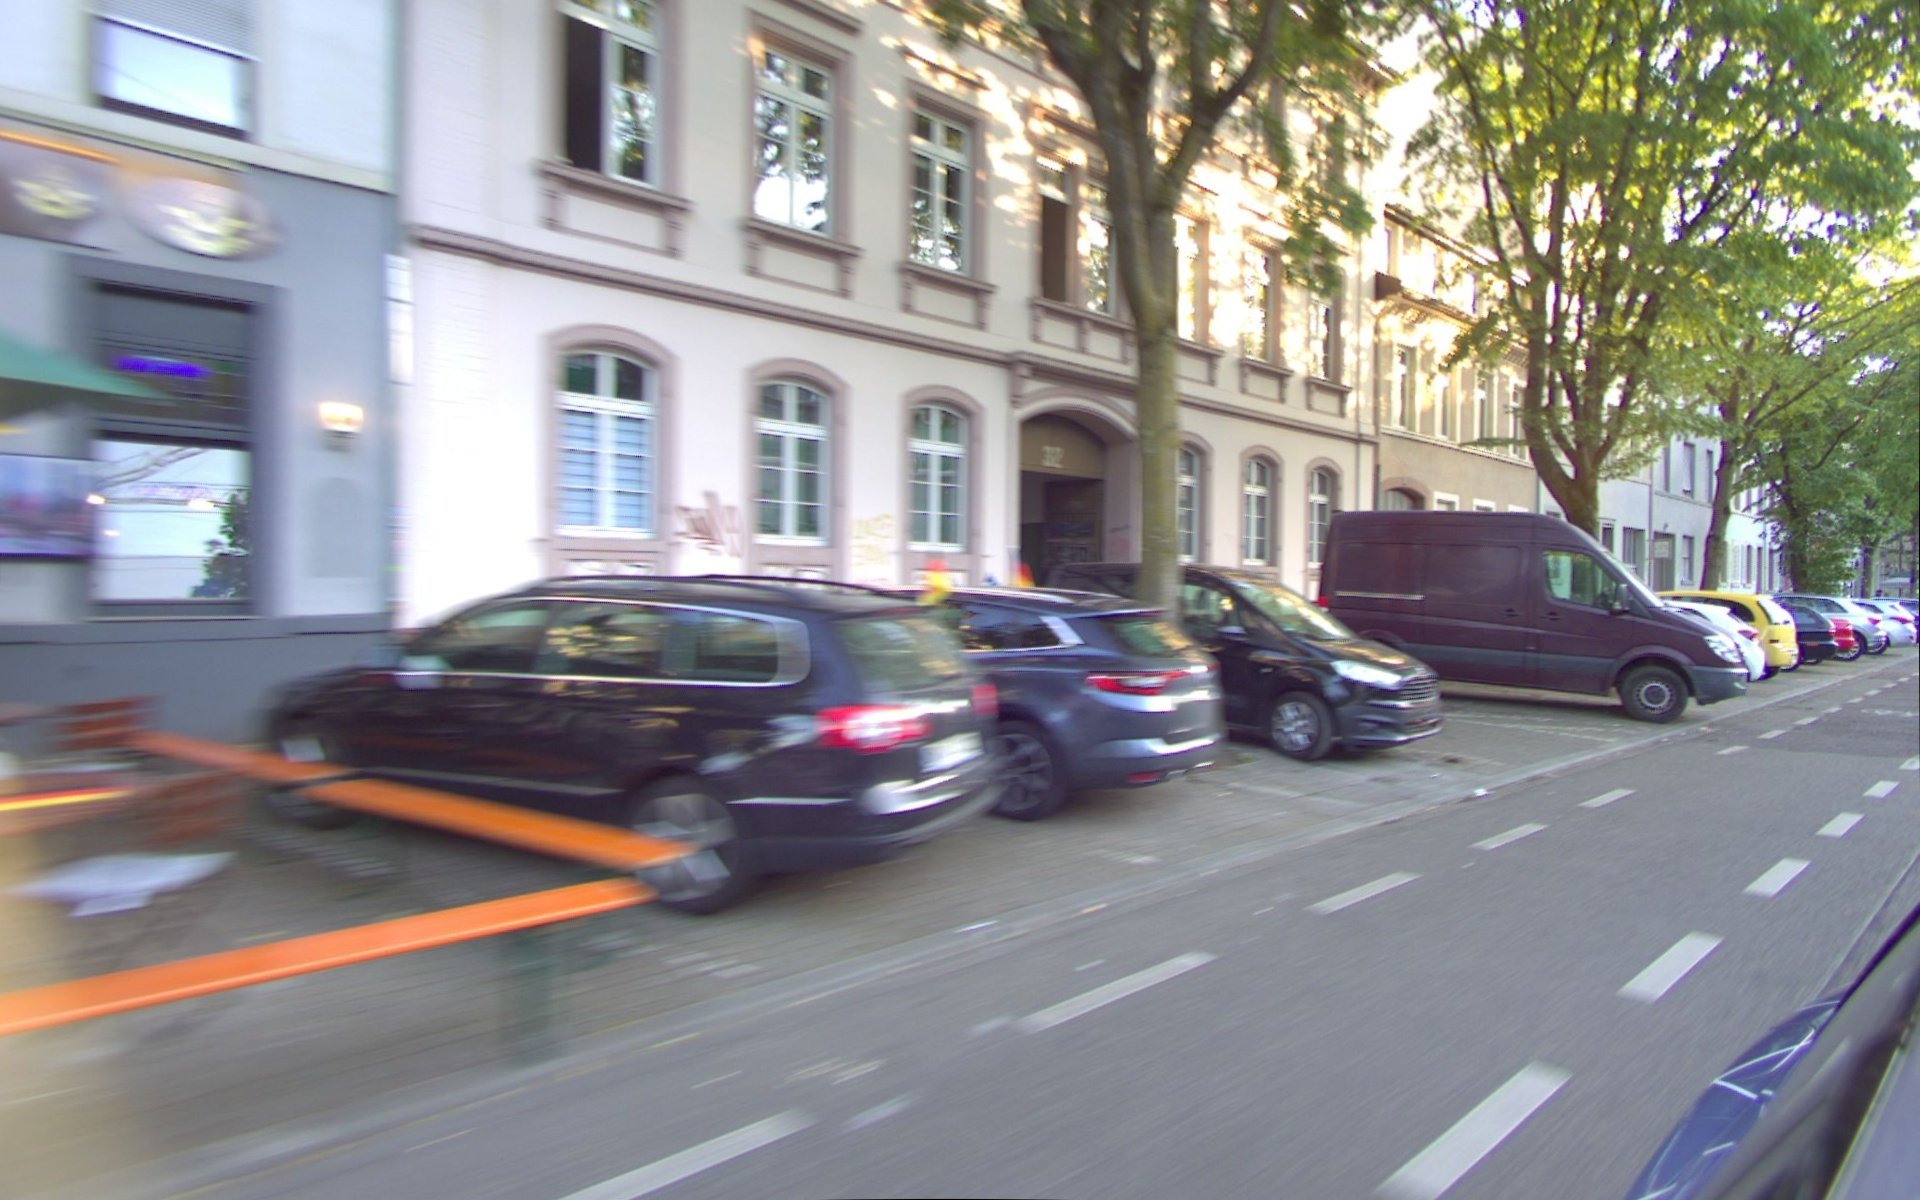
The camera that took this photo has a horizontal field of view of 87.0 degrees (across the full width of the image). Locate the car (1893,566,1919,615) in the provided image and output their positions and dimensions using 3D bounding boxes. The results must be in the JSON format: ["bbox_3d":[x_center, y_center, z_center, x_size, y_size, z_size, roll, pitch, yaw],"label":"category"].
[{"bbox_3d":[52.217,-0.467,53.541,1.691,2.598,3.991,1,1,-40],"label":"car"}]

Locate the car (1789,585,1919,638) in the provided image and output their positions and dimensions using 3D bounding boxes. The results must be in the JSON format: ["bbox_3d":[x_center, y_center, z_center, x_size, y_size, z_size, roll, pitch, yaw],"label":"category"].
[{"bbox_3d":[30.019,0.364,33.378,3.970,1.595,1.700,3,1,35],"label":"car"}]

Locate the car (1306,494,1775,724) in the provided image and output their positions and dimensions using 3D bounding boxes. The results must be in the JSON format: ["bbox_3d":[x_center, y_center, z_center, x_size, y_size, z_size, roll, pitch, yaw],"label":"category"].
[{"bbox_3d":[7.698,-0.017,13.925,5.196,2.653,1.905,3,2,34],"label":"car"}]

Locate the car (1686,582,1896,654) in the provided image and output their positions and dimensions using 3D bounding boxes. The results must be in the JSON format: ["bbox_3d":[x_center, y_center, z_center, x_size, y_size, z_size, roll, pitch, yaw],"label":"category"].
[{"bbox_3d":[21.011,0.404,25.788,3.975,1.595,1.698,3,1,38],"label":"car"}]

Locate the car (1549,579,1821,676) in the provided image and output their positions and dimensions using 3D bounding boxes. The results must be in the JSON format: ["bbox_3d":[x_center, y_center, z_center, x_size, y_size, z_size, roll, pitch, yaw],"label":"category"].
[{"bbox_3d":[13.999,0.460,19.738,1.691,1.618,3.992,1,1,-39],"label":"car"}]

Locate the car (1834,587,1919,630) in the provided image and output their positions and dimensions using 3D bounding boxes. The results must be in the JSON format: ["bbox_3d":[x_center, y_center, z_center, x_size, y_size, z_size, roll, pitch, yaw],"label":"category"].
[{"bbox_3d":[37.103,0.348,39.744,3.970,1.595,1.700,3,1,35],"label":"car"}]

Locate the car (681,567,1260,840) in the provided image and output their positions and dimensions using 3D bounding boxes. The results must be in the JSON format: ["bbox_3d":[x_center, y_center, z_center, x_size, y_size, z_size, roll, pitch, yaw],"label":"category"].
[{"bbox_3d":[-0.042,0.557,7.689,4.092,1.470,1.788,3,1,35],"label":"car"}]

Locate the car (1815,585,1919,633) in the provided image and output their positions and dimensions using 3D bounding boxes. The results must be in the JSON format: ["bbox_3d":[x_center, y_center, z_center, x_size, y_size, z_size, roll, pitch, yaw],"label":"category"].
[{"bbox_3d":[33.559,0.317,36.487,3.970,1.595,1.700,3,1,35],"label":"car"}]

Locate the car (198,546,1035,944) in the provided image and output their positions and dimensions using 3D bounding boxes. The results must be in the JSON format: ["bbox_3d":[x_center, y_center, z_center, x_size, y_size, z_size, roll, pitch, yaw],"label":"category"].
[{"bbox_3d":[-2.036,0.540,5.878,4.586,1.536,1.796,3,1,24],"label":"car"}]

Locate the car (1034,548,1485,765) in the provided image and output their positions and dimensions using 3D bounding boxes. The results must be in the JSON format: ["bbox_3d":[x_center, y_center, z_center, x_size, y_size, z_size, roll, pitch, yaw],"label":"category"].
[{"bbox_3d":[2.770,0.381,10.062,1.692,1.720,3.989,1,1,-42],"label":"car"}]

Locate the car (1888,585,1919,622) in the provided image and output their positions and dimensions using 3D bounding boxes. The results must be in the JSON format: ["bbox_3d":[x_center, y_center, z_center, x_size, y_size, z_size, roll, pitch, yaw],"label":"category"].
[{"bbox_3d":[48.063,0.222,49.275,3.970,1.792,1.700,3,1,35],"label":"car"}]

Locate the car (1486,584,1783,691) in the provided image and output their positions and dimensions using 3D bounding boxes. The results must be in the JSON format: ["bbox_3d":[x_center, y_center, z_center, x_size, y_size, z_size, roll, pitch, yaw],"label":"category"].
[{"bbox_3d":[11.246,0.554,17.161,3.966,1.504,1.702,3,1,33],"label":"car"}]

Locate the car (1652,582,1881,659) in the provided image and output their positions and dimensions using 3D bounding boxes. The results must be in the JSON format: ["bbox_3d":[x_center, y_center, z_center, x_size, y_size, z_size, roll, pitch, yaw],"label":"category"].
[{"bbox_3d":[19.209,0.428,24.240,1.691,1.595,3.992,1,1,-39],"label":"car"}]

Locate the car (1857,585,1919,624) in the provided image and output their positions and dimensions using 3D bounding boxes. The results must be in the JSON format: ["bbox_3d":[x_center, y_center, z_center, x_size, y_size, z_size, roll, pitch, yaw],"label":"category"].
[{"bbox_3d":[40.737,0.235,42.763,3.970,1.595,1.700,3,1,35],"label":"car"}]

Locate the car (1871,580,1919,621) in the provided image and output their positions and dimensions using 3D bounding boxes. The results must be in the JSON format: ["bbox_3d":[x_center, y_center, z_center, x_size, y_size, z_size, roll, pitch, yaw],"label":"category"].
[{"bbox_3d":[45.051,0.076,46.861,3.970,1.863,1.700,3,1,35],"label":"car"}]

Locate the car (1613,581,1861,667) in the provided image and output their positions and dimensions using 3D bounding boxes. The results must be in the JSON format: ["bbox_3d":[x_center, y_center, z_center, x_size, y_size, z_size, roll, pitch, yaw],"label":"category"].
[{"bbox_3d":[16.839,0.455,22.102,1.691,1.595,3.992,1,1,-39],"label":"car"}]

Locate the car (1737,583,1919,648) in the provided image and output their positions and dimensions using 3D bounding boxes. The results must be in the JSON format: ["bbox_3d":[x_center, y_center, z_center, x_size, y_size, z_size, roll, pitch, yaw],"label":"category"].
[{"bbox_3d":[24.061,0.395,27.955,3.970,1.595,1.700,3,1,35],"label":"car"}]
